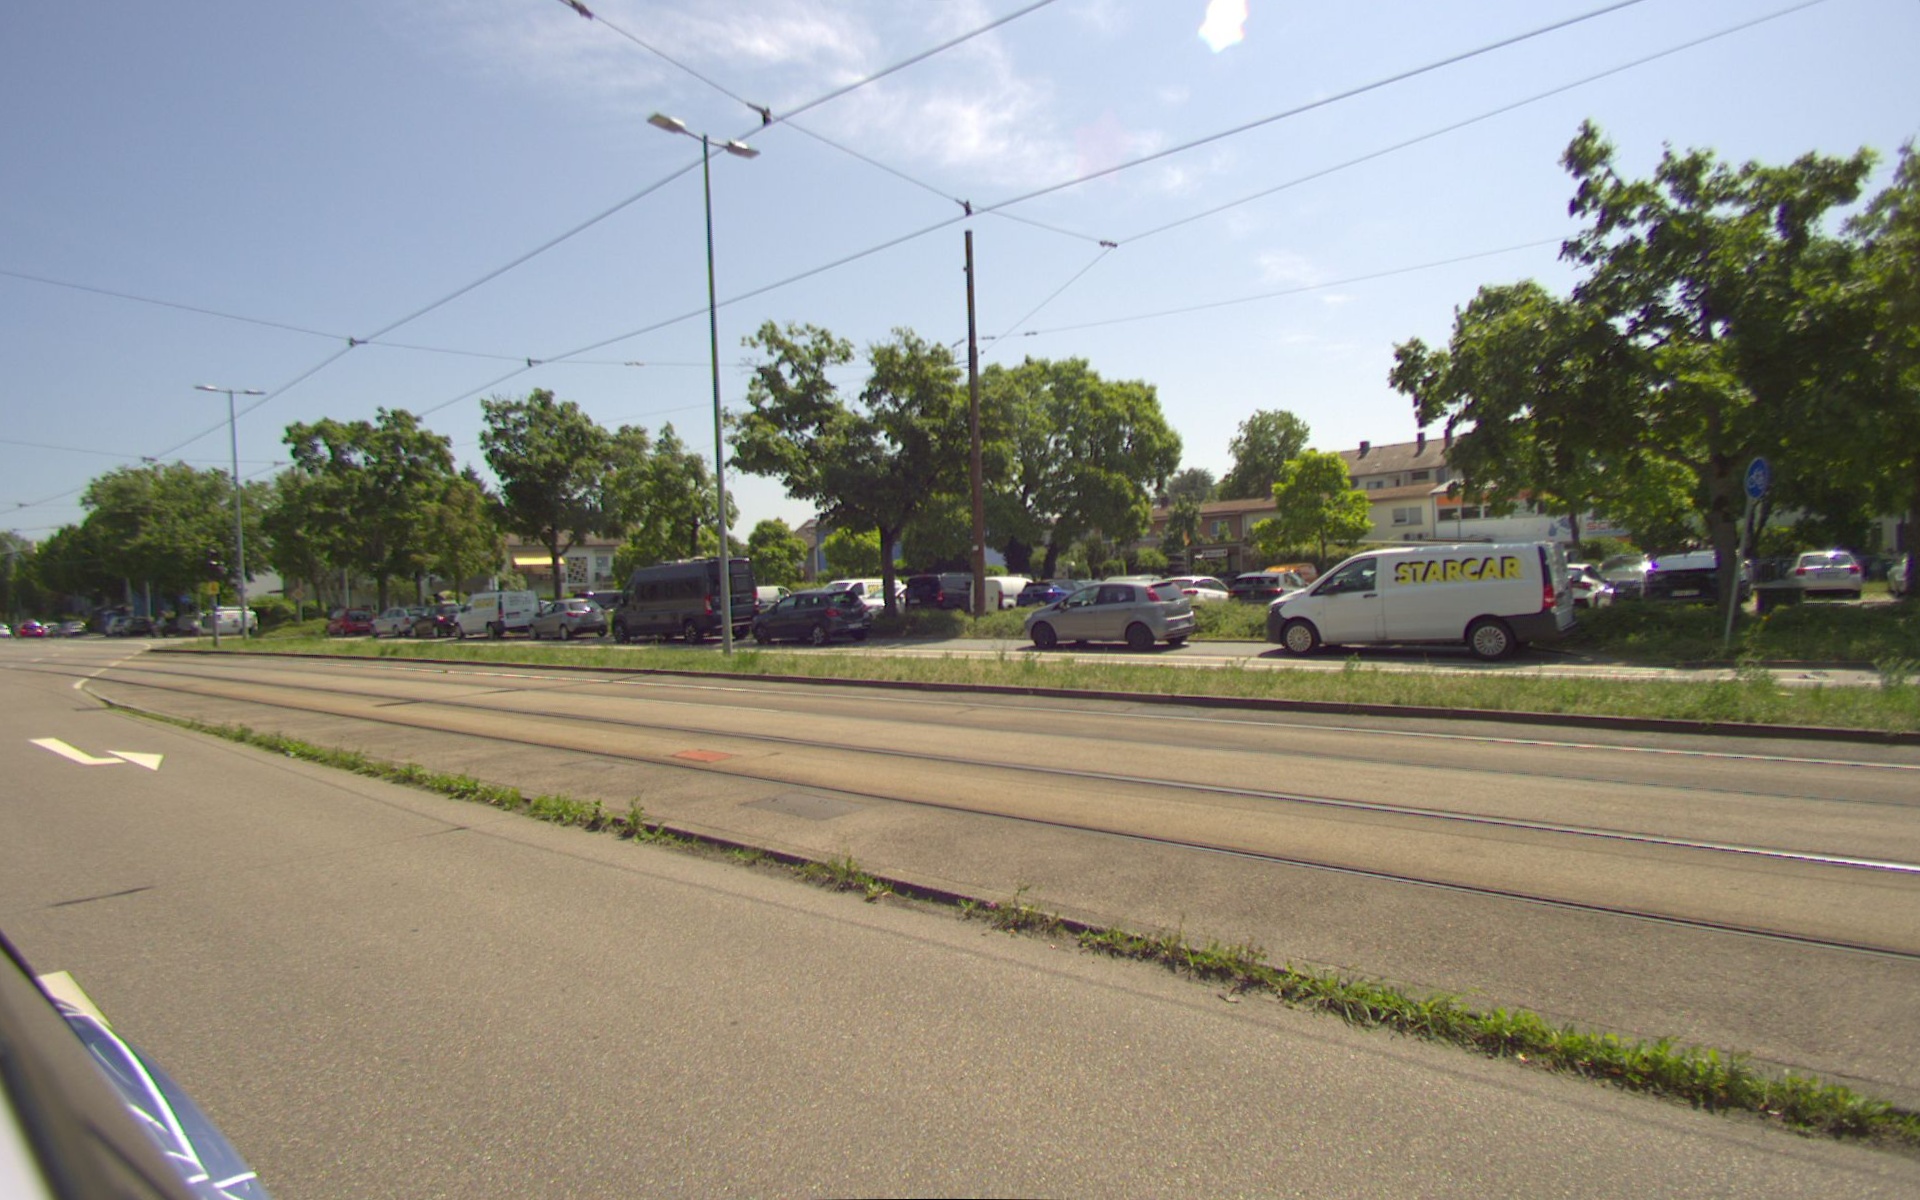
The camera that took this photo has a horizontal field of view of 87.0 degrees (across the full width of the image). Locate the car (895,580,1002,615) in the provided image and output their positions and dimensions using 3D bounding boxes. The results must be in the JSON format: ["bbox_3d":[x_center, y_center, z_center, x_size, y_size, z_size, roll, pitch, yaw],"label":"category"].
[{"bbox_3d":[-0.380,-0.111,39.423,2.029,1.152,4.211,-2,1,36],"label":"car"}]

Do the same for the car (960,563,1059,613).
[{"bbox_3d":[1.921,-0.471,38.287,1.794,1.730,3.951,-2,1,36],"label":"car"}]

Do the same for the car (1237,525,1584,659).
[{"bbox_3d":[7.926,-0.131,18.202,5.342,2.025,1.856,-1,4,42],"label":"car"}]

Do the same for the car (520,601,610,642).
[{"bbox_3d":[-14.986,0.787,38.318,3.607,1.475,1.744,-1,1,42],"label":"car"}]

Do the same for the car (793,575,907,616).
[{"bbox_3d":[-4.637,-0.218,43.333,1.997,1.588,4.867,-1,1,38],"label":"car"}]

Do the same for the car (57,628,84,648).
[{"bbox_3d":[-90.485,3.878,102.954,3.983,1.867,1.681,-1,1,43],"label":"car"}]

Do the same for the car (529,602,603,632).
[{"bbox_3d":[-24.040,1.000,61.906,1.712,1.697,3.954,-1,1,34],"label":"car"}]

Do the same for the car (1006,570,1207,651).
[{"bbox_3d":[3.177,0.222,22.389,4.124,1.513,1.633,-1,4,42],"label":"car"}]

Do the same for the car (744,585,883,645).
[{"bbox_3d":[-4.206,0.391,28.836,3.750,1.589,1.950,-1,1,41],"label":"car"}]

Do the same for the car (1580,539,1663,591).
[{"bbox_3d":[23.166,-1.187,35.392,1.803,1.669,3.944,-1,1,43],"label":"car"}]

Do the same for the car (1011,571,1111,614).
[{"bbox_3d":[3.665,-0.281,36.224,1.794,1.417,3.951,-2,0,36],"label":"car"}]

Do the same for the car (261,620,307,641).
[{"bbox_3d":[-40.866,1.809,61.169,3.423,1.167,1.561,-1,1,43],"label":"car"}]

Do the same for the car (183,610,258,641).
[{"bbox_3d":[-51.192,1.736,70.181,4.144,2.005,1.826,-1,0,-35],"label":"car"}]

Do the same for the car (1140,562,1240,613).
[{"bbox_3d":[7.477,-0.440,32.596,1.827,1.501,4.030,-2,1,33],"label":"car"}]

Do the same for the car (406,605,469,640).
[{"bbox_3d":[-23.550,0.995,45.563,3.261,1.489,1.411,-1,0,41],"label":"car"}]

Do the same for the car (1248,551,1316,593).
[{"bbox_3d":[13.970,-1.201,43.782,1.689,1.665,4.082,-2,0,34],"label":"car"}]

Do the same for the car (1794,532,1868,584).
[{"bbox_3d":[27.807,-1.308,32.286,1.661,1.531,3.944,-1,1,43],"label":"car"}]

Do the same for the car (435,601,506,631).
[{"bbox_3d":[-32.478,1.046,67.215,1.712,1.888,3.954,-1,0,34],"label":"car"}]

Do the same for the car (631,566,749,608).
[{"bbox_3d":[-13.235,-0.643,49.864,2.029,1.970,5.363,-1,1,42],"label":"car"}]

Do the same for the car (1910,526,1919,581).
[{"bbox_3d":[29.428,-1.383,30.176,1.520,1.591,3.944,-1,1,43],"label":"car"}]

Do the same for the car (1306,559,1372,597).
[{"bbox_3d":[16.025,-0.914,42.679,1.712,1.505,3.953,-1,1,35],"label":"car"}]

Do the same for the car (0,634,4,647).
[{"bbox_3d":[-99.930,4.212,103.997,3.745,1.328,1.761,-1,0,35],"label":"car"}]

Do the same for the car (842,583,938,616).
[{"bbox_3d":[-2.790,-0.036,41.012,1.732,1.152,3.951,-2,1,36],"label":"car"}]

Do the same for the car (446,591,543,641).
[{"bbox_3d":[-19.358,0.643,42.020,4.816,1.963,1.899,-1,1,42],"label":"car"}]

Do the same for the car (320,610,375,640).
[{"bbox_3d":[-32.137,1.271,53.104,3.423,1.491,1.561,-1,1,43],"label":"car"}]

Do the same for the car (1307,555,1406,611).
[{"bbox_3d":[11.522,-0.478,29.265,1.855,1.501,4.100,-1,1,33],"label":"car"}]

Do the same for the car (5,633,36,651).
[{"bbox_3d":[-85.379,3.815,92.003,3.423,1.491,1.796,-1,1,43],"label":"car"}]

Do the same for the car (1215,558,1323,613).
[{"bbox_3d":[9.363,-0.463,30.438,2.018,1.501,4.117,-2,1,33],"label":"car"}]

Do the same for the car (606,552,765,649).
[{"bbox_3d":[-8.976,0.018,32.792,5.665,2.859,2.215,-1,0,41],"label":"car"}]

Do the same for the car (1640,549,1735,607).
[{"bbox_3d":[17.149,-0.536,23.982,1.639,1.241,3.386,-2,1,33],"label":"car"}]

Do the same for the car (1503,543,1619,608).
[{"bbox_3d":[15.565,-0.648,26.099,1.982,1.501,4.120,-2,1,39],"label":"car"}]

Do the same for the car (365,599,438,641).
[{"bbox_3d":[-27.004,0.942,48.871,4.494,1.907,1.614,-1,0,41],"label":"car"}]
